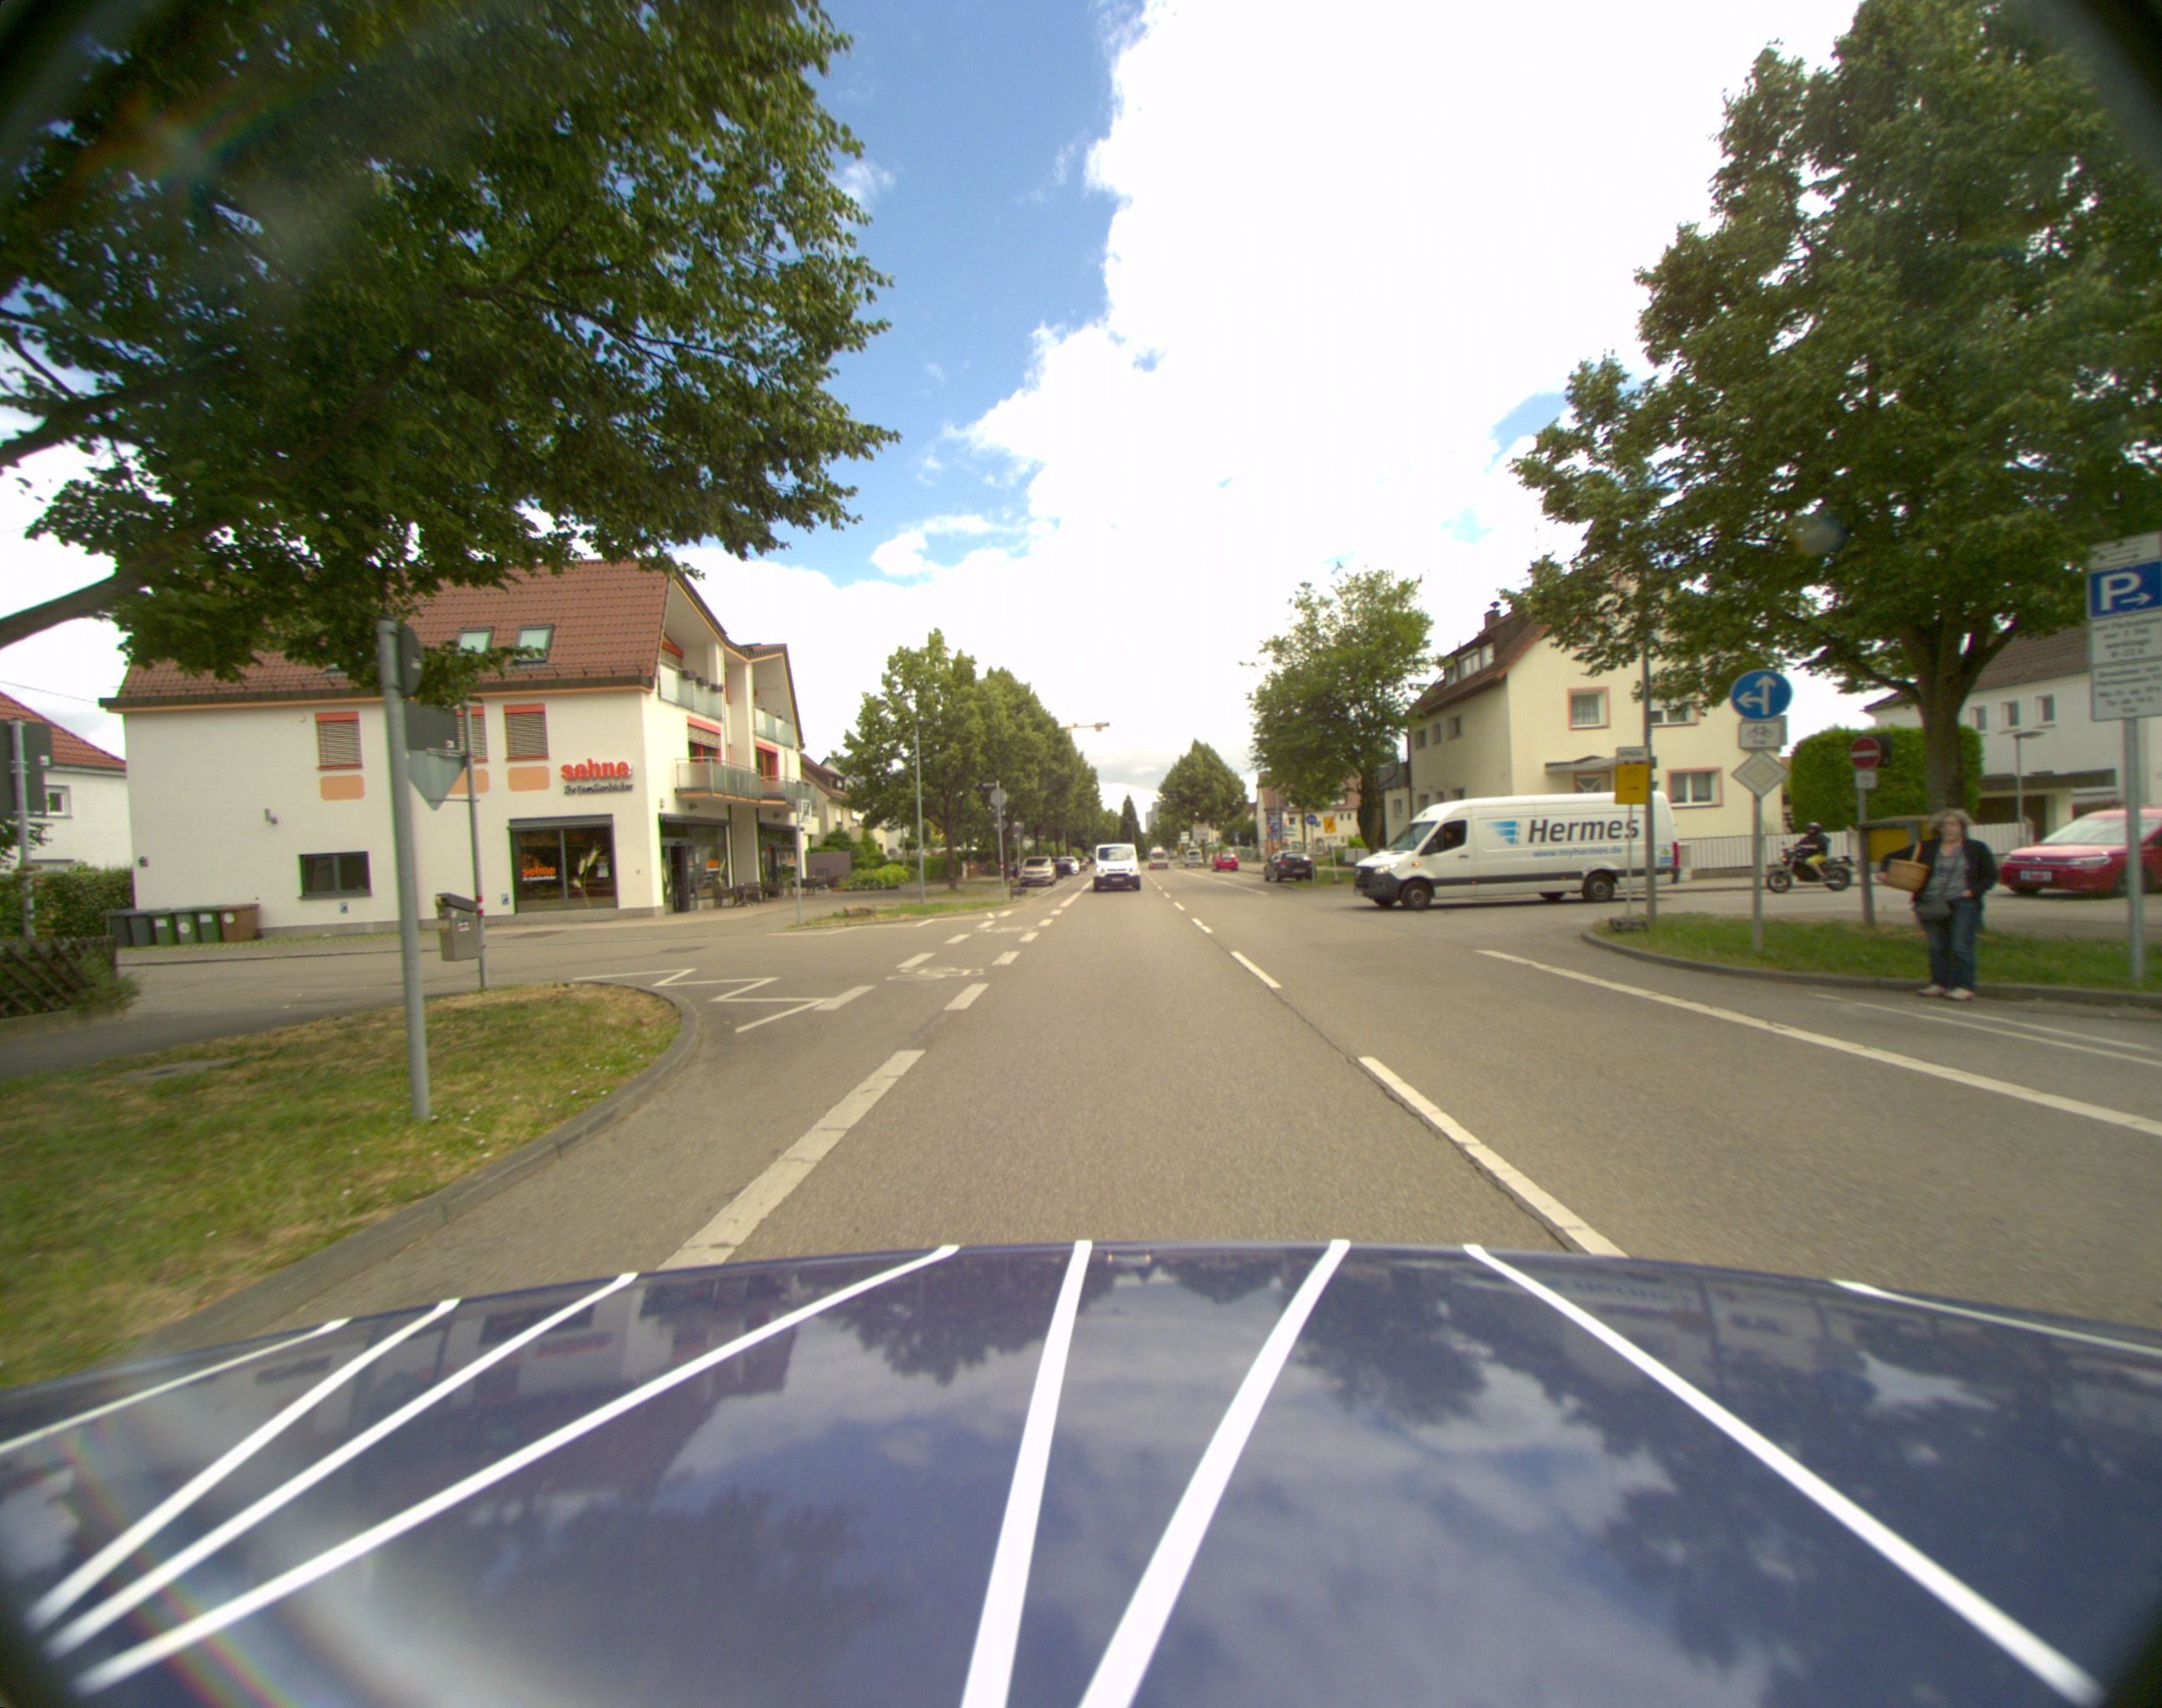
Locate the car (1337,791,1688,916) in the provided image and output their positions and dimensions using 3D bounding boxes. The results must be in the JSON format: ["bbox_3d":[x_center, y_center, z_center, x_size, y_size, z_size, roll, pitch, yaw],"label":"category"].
[{"bbox_3d":[10.335,-0.019,18.624,7.308,2.579,2.220,-2,1,-1],"label":"car"}]

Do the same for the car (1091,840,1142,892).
[{"bbox_3d":[1.517,0.491,33.239,1.998,2.002,5.050,-3,0,2],"label":"car"}]

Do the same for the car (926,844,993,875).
[{"bbox_3d":[-11.164,0.501,70.113,5.728,2.576,1.998,-2,0,-1],"label":"car"}]

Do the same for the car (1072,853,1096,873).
[{"bbox_3d":[0.278,0.723,63.064,1.810,1.466,4.812,-2,0,1],"label":"car"}]

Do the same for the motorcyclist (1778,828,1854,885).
[{"bbox_3d":[18.069,0.059,18.701,1.109,1.357,0.753,-2,1,1],"label":"motorcyclist"}]

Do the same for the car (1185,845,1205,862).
[{"bbox_3d":[12.720,-0.084,85.057,1.774,1.760,4.552,-2,0,5],"label":"car"}]

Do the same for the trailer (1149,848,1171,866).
[{"bbox_3d":[8.068,0.309,77.569,1.942,1.667,4.689,-2,0,3],"label":"trailer"}]

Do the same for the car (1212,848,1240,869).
[{"bbox_3d":[11.161,0.337,58.826,1.689,1.532,4.133,-2,0,5],"label":"car"}]

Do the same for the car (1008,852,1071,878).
[{"bbox_3d":[-2.815,0.739,52.405,4.228,1.628,1.693,-1,0,-2],"label":"car"}]

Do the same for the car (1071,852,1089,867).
[{"bbox_3d":[-0.046,0.526,77.360,1.656,1.407,4.177,-1,0,2],"label":"car"}]

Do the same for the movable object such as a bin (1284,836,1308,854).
[{"bbox_3d":[28.331,-1.148,100.307,1.900,2.175,4.362,-2,0,1],"label":"movable object such as a bin"}]

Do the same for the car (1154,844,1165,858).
[{"bbox_3d":[15.357,-0.575,148.730,2.023,2.658,5.807,-2,0,5],"label":"car"}]

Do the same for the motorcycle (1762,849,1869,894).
[{"bbox_3d":[18.077,0.424,18.722,2.118,1.026,0.481,-2,1,1],"label":"motorcycle"}]

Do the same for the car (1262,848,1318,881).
[{"bbox_3d":[9.887,0.474,36.283,1.735,1.460,4.302,-2,0,4],"label":"car"}]

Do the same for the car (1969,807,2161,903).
[{"bbox_3d":[21.483,-0.037,15.587,4.359,1.768,1.872,-2,2,-1],"label":"car"}]

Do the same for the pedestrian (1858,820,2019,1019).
[{"bbox_3d":[7.679,0.565,6.845,0.543,1.671,0.751,-4,-1,11],"label":"pedestrian"}]

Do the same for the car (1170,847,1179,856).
[{"bbox_3d":[19.953,-0.520,162.396,1.750,1.626,4.049,-3,0,4],"label":"car"}]

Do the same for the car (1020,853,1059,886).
[{"bbox_3d":[-2.170,0.783,40.372,1.726,1.571,4.061,-2,0,1],"label":"car"}]

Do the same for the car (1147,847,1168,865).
[{"bbox_3d":[8.295,0.204,82.312,1.971,1.820,4.819,-2,0,3],"label":"car"}]
